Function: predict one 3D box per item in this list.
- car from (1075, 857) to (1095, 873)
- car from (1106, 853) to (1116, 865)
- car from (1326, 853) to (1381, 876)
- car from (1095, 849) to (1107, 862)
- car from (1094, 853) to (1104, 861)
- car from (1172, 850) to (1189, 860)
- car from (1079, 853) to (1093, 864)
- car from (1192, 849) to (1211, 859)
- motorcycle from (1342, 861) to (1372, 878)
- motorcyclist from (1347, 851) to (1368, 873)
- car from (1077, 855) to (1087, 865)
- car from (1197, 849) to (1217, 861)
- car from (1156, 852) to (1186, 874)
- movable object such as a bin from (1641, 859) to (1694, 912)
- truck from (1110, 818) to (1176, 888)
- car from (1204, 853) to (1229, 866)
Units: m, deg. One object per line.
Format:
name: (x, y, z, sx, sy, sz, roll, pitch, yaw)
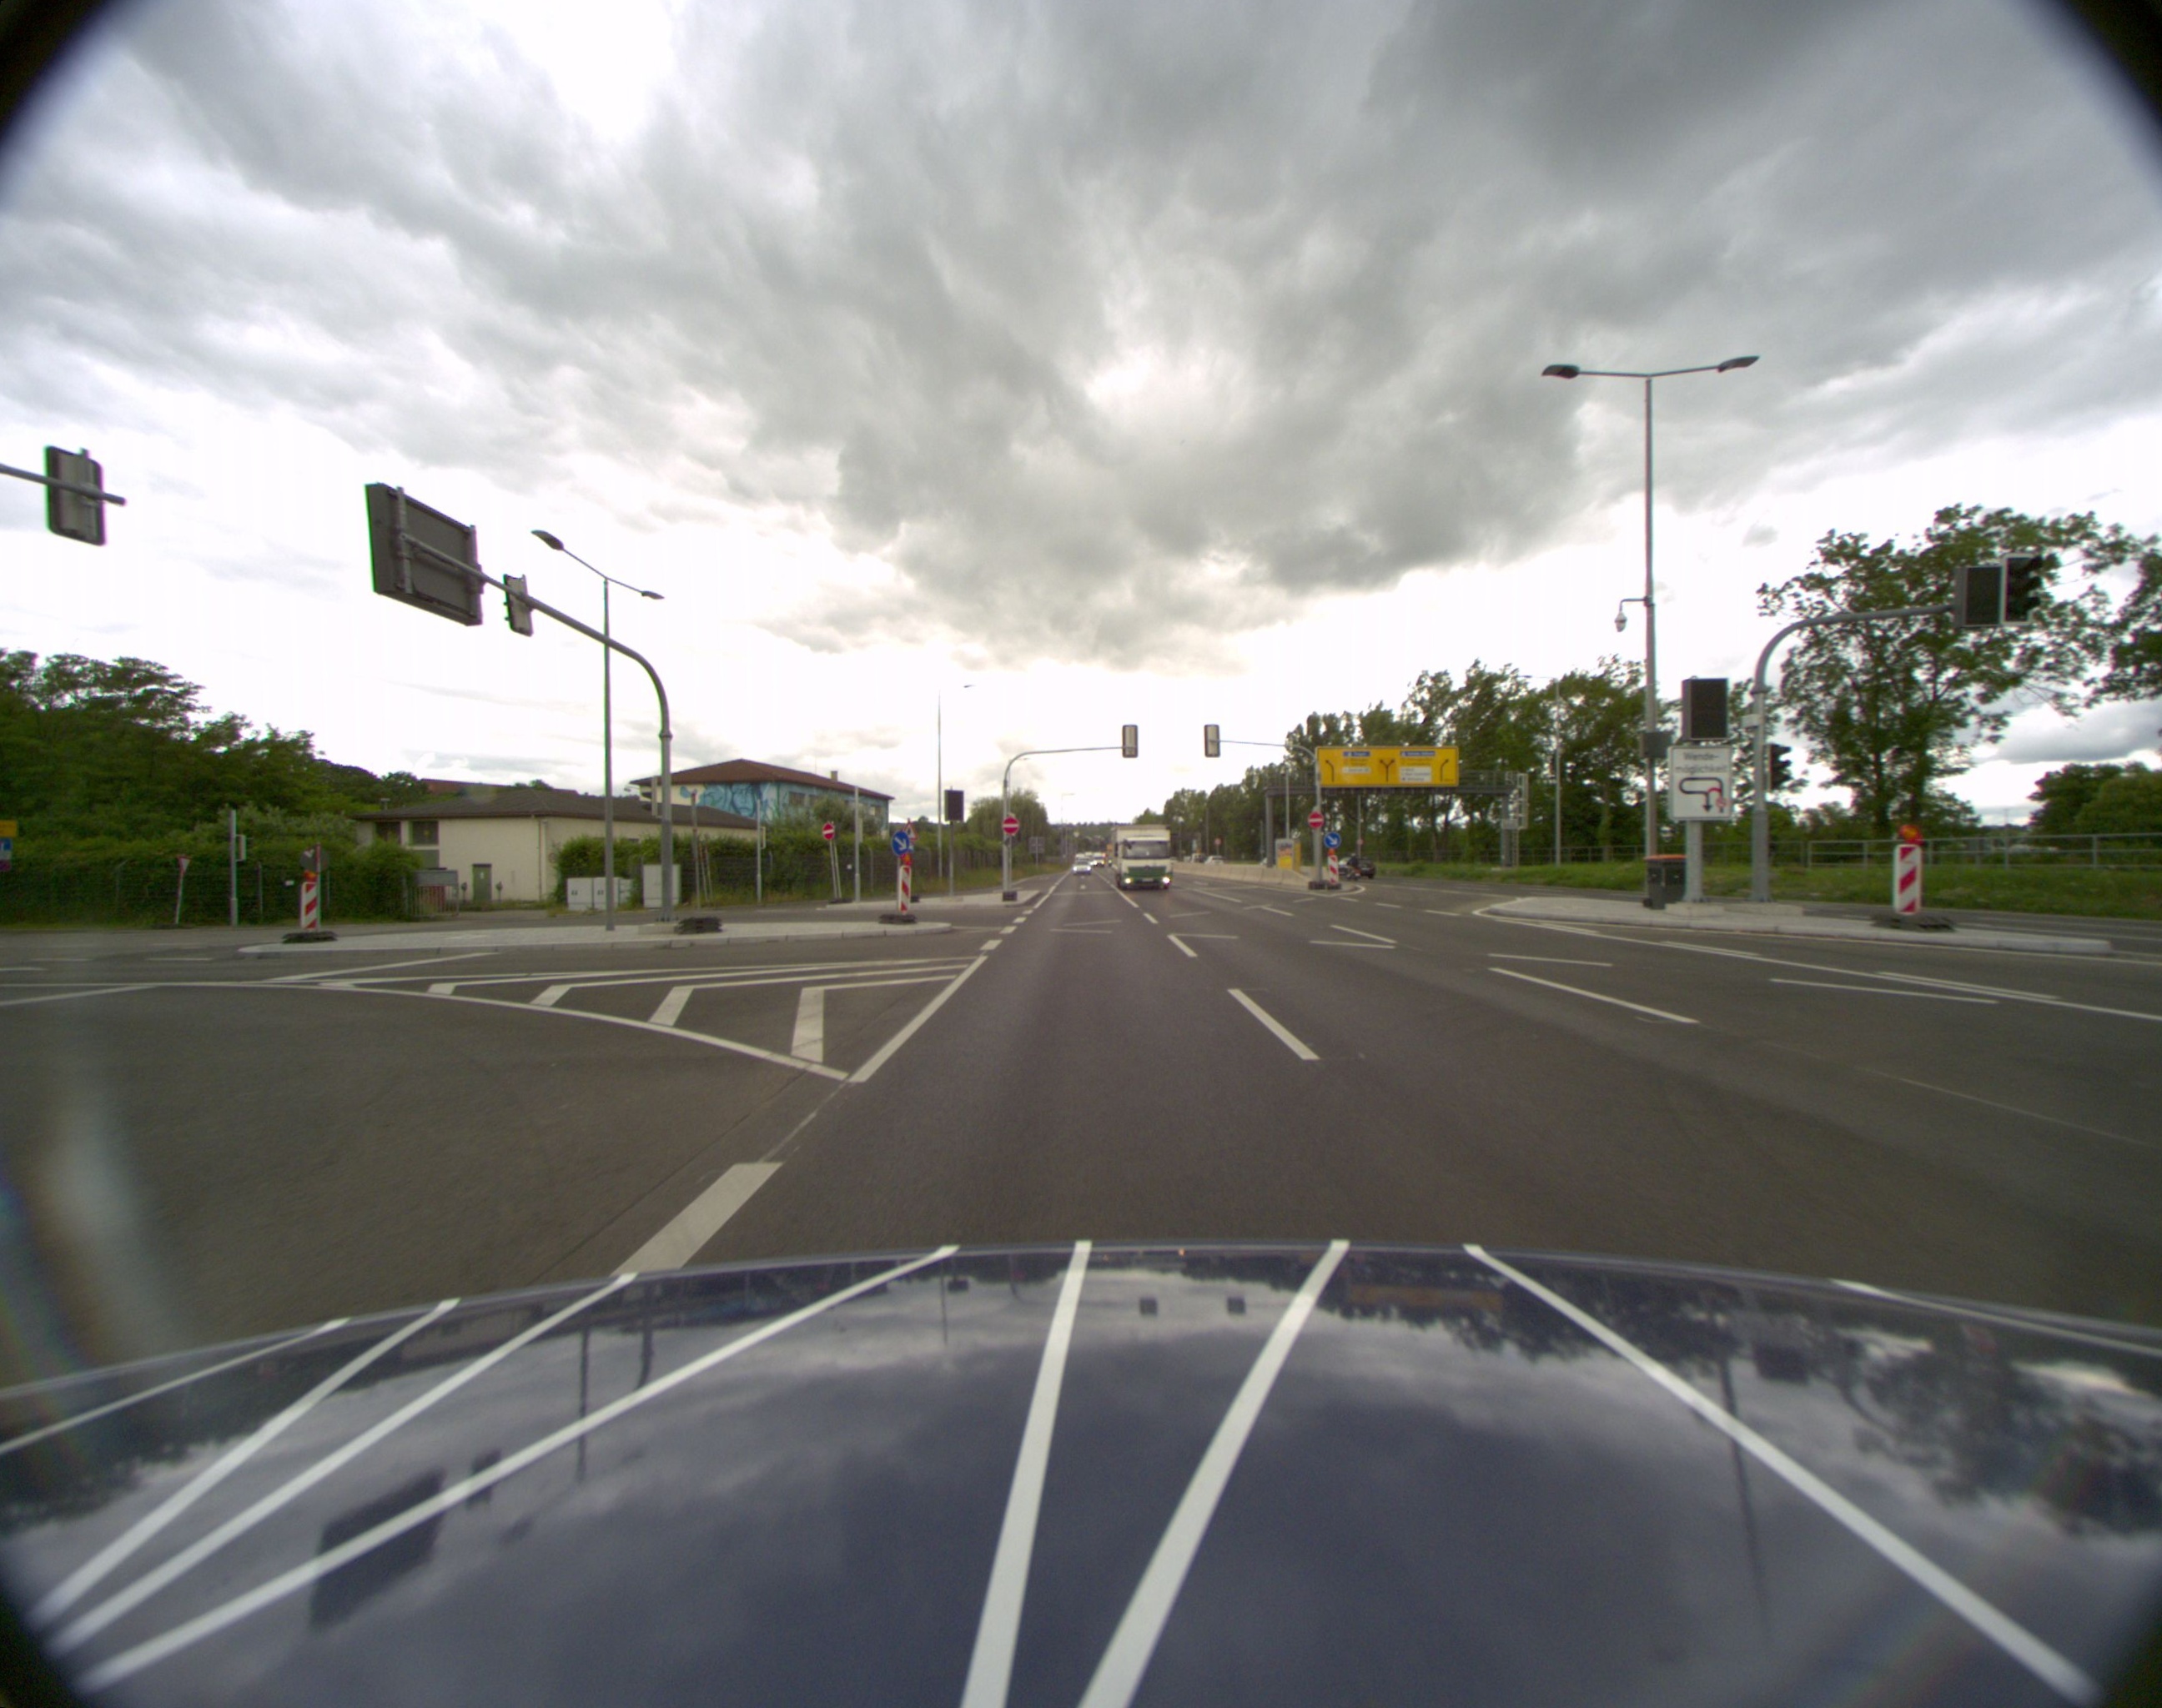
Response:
car: (0.377, 1.079, 77.103, 1.949, 1.516, 4.000, -1, 0, 0)
car: (5.897, 0.963, 149.733, 1.949, 2.176, 4.000, -1, 0, 0)
car: (18.916, 0.700, 52.962, 2.012, 1.516, 5.002, -1, 0, 0)
car: (3.636, 0.269, 137.906, 1.949, 2.176, 4.000, -1, 0, 0)
car: (3.973, 0.641, 167.760, 1.949, 1.811, 4.000, -1, 0, 0)
car: (16.328, 0.164, 124.651, 2.012, 1.516, 5.002, -1, 0, 0)
car: (0.720, 0.651, 109.831, 1.949, 1.516, 4.000, -1, 0, 0)
car: (18.673, -0.019, 117.906, 2.012, 1.516, 5.002, -1, 0, 0)
motorcycle: (16.387, 0.890, 45.152, 0.876, 0.934, 2.633, -1, 0, 1)
motorcyclist: (16.377, 0.465, 45.030, 0.876, 1.231, 1.085, -1, 0, 1)
car: (0.192, 1.184, 147.077, 1.949, 1.811, 4.000, -1, 0, 0)
car: (18.162, 0.149, 109.512, 2.012, 1.516, 5.002, -1, 0, 0)
car: (7.216, 0.691, 61.551, 1.883, 1.714, 4.146, -1, 0, 0)
movable object such as a bin: (11.569, 0.619, 15.003, 0.570, 1.018, 0.622, -1, 0, 4)
truck: (3.052, -0.017, 40.854, 2.657, 3.121, 12.509, -1, 0, 1)
car: (16.237, 0.635, 91.227, 2.012, 1.559, 5.002, -1, 0, 0)
